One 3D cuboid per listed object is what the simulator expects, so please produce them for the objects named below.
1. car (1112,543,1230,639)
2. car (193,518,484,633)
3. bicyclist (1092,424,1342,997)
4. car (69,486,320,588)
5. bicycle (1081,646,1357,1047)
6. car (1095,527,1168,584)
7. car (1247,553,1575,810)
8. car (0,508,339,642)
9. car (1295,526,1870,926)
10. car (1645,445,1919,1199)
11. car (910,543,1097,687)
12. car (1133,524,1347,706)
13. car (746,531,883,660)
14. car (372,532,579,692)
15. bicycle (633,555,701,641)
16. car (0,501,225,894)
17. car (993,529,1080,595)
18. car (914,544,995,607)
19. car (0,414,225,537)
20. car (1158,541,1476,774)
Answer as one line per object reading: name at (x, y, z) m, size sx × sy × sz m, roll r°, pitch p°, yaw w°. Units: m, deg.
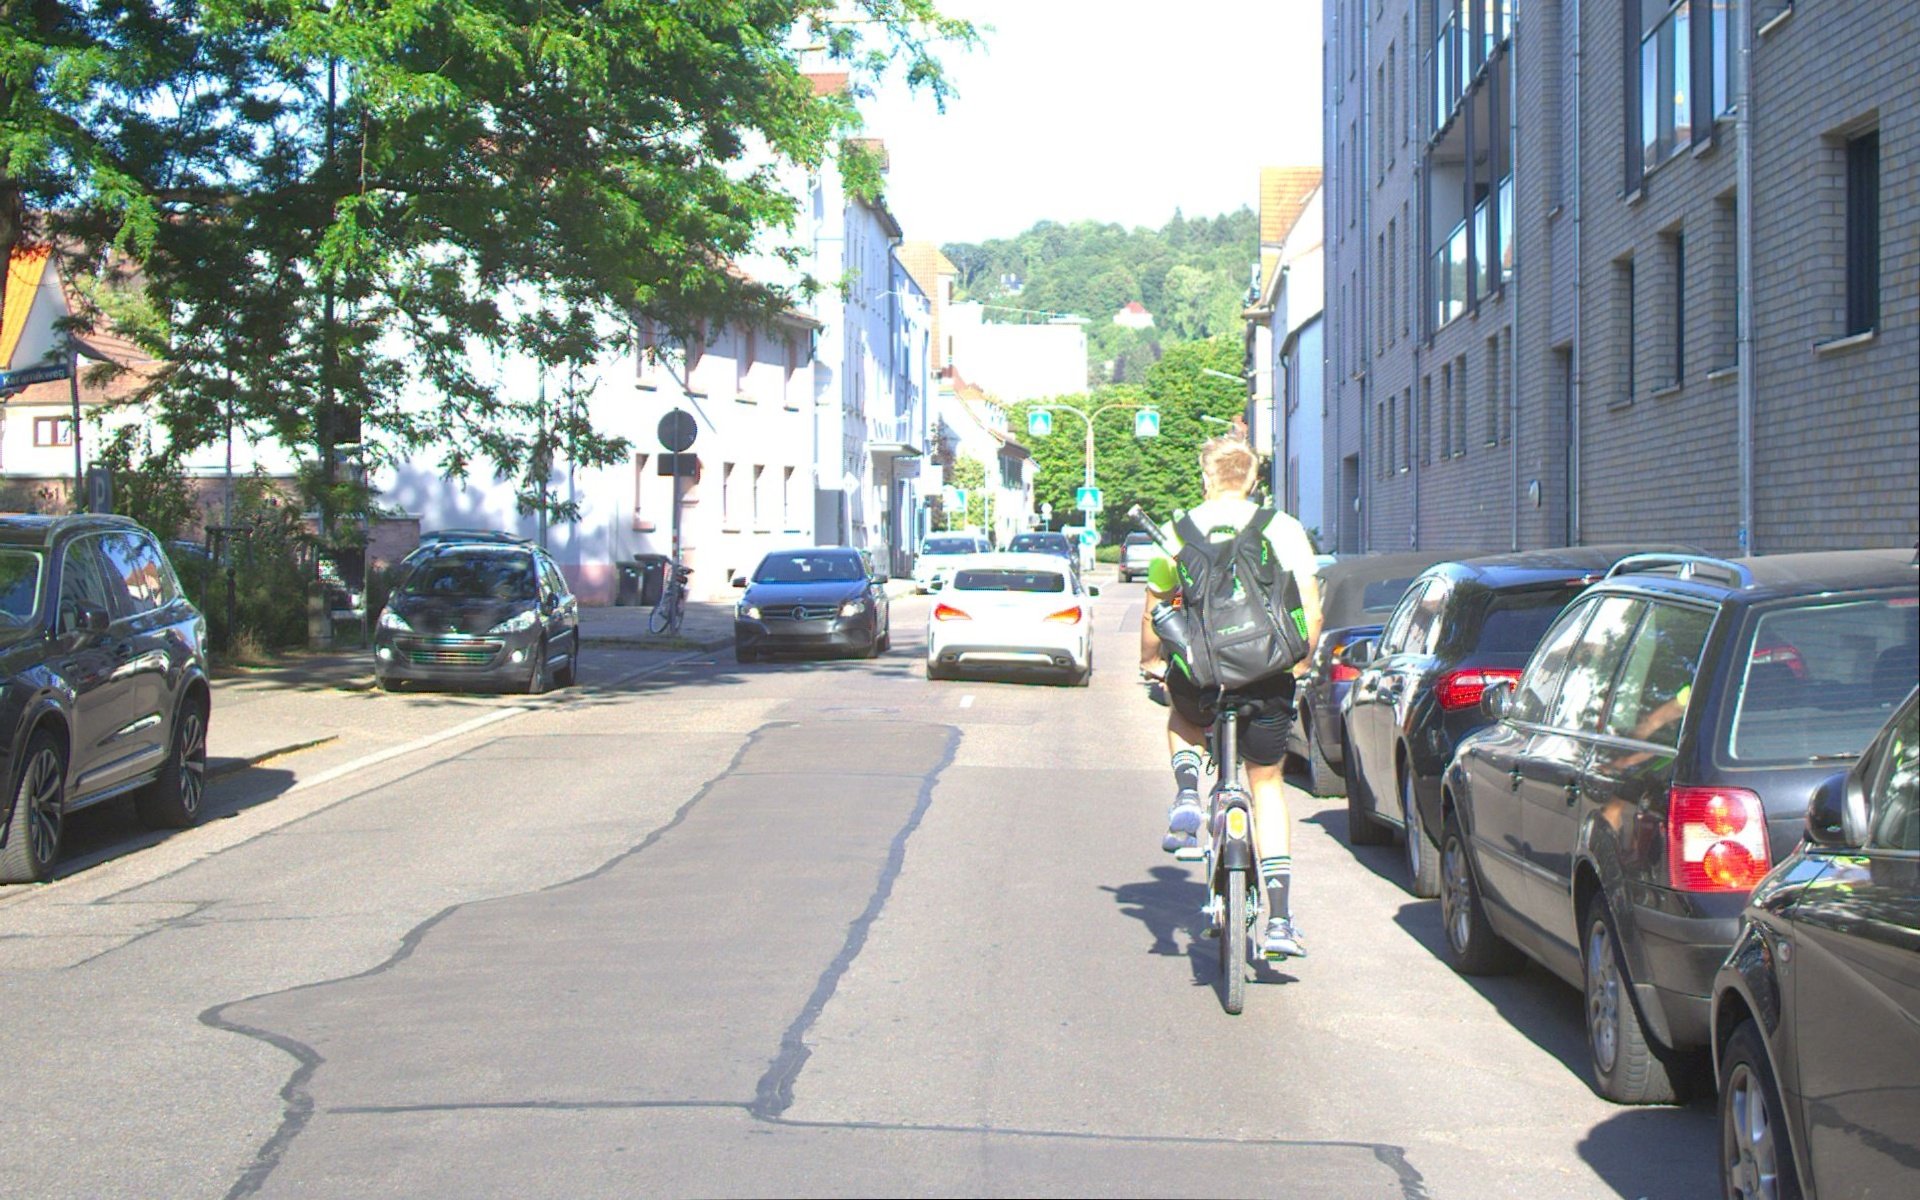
car at (3.722, -0.184, 61.261) m, size 1.858 × 1.581 × 4.621 m, roll -2°, pitch 1°, yaw 1°
car at (-9.073, -0.362, 50.370) m, size 3.901 × 1.570 × 1.710 m, roll 1°, pitch 1°, yaw 2°
bicyclist at (0.827, 0.346, 11.322) m, size 0.698 × 1.784 × 1.041 m, roll 1°, pitch 0°, yaw 0°
car at (-12.609, -1.044, 56.795) m, size 3.900 × 1.570 × 1.710 m, roll 1°, pitch 1°, yaw -8°
bicycle at (0.810, 0.748, 11.387) m, size 0.698 × 1.126 × 2.403 m, roll 1°, pitch 0°, yaw 0°
car at (5.562, -1.464, 111.902) m, size 1.853 × 1.785 × 4.608 m, roll 1°, pitch 1°, yaw -3°
car at (2.761, 0.456, 21.695) m, size 1.508 × 1.439 × 3.530 m, roll -2°, pitch 1°, yaw -1°
car at (-9.979, -0.328, 43.276) m, size 3.902 × 1.570 × 1.709 m, roll 1°, pitch 1°, yaw 7°
car at (2.744, 0.479, 16.225) m, size 1.857 × 1.581 × 4.621 m, roll 1°, pitch 1°, yaw 0°
car at (2.329, 0.623, 5.338) m, size 1.664 × 1.696 × 3.914 m, roll 1°, pitch 1°, yaw -1°
car at (0.432, 0.145, 38.385) m, size 1.842 × 1.486 × 4.144 m, roll 1°, pitch 0°, yaw -2°
car at (2.818, 0.124, 35.500) m, size 1.858 × 1.696 × 4.621 m, roll -2°, pitch 1°, yaw 1°
car at (-1.859, -0.094, 44.612) m, size 1.664 × 1.570 × 3.914 m, roll 1°, pitch 1°, yaw -2°
car at (-5.065, 0.087, 36.362) m, size 1.704 × 1.570 × 3.914 m, roll 1°, pitch 1°, yaw -2°
bicycle at (-4.366, -0.049, 51.416) m, size 0.835 × 1.213 × 2.842 m, roll 1°, pitch 1°, yaw -2°
car at (-5.265, 0.382, 17.886) m, size 1.853 × 1.785 × 4.607 m, roll 1°, pitch 1°, yaw 0°
car at (1.993, -0.968, 87.927) m, size 1.945 × 1.581 × 4.621 m, roll -2°, pitch 1°, yaw 4°
car at (-0.127, -0.658, 92.077) m, size 1.945 × 1.581 × 4.621 m, roll -2°, pitch 1°, yaw 2°
car at (-12.022, -1.669, 46.055) m, size 3.901 × 1.570 × 1.709 m, roll 1°, pitch 1°, yaw 4°
car at (2.661, 0.384, 26.621) m, size 1.857 × 1.581 × 4.622 m, roll -2°, pitch 1°, yaw -1°
